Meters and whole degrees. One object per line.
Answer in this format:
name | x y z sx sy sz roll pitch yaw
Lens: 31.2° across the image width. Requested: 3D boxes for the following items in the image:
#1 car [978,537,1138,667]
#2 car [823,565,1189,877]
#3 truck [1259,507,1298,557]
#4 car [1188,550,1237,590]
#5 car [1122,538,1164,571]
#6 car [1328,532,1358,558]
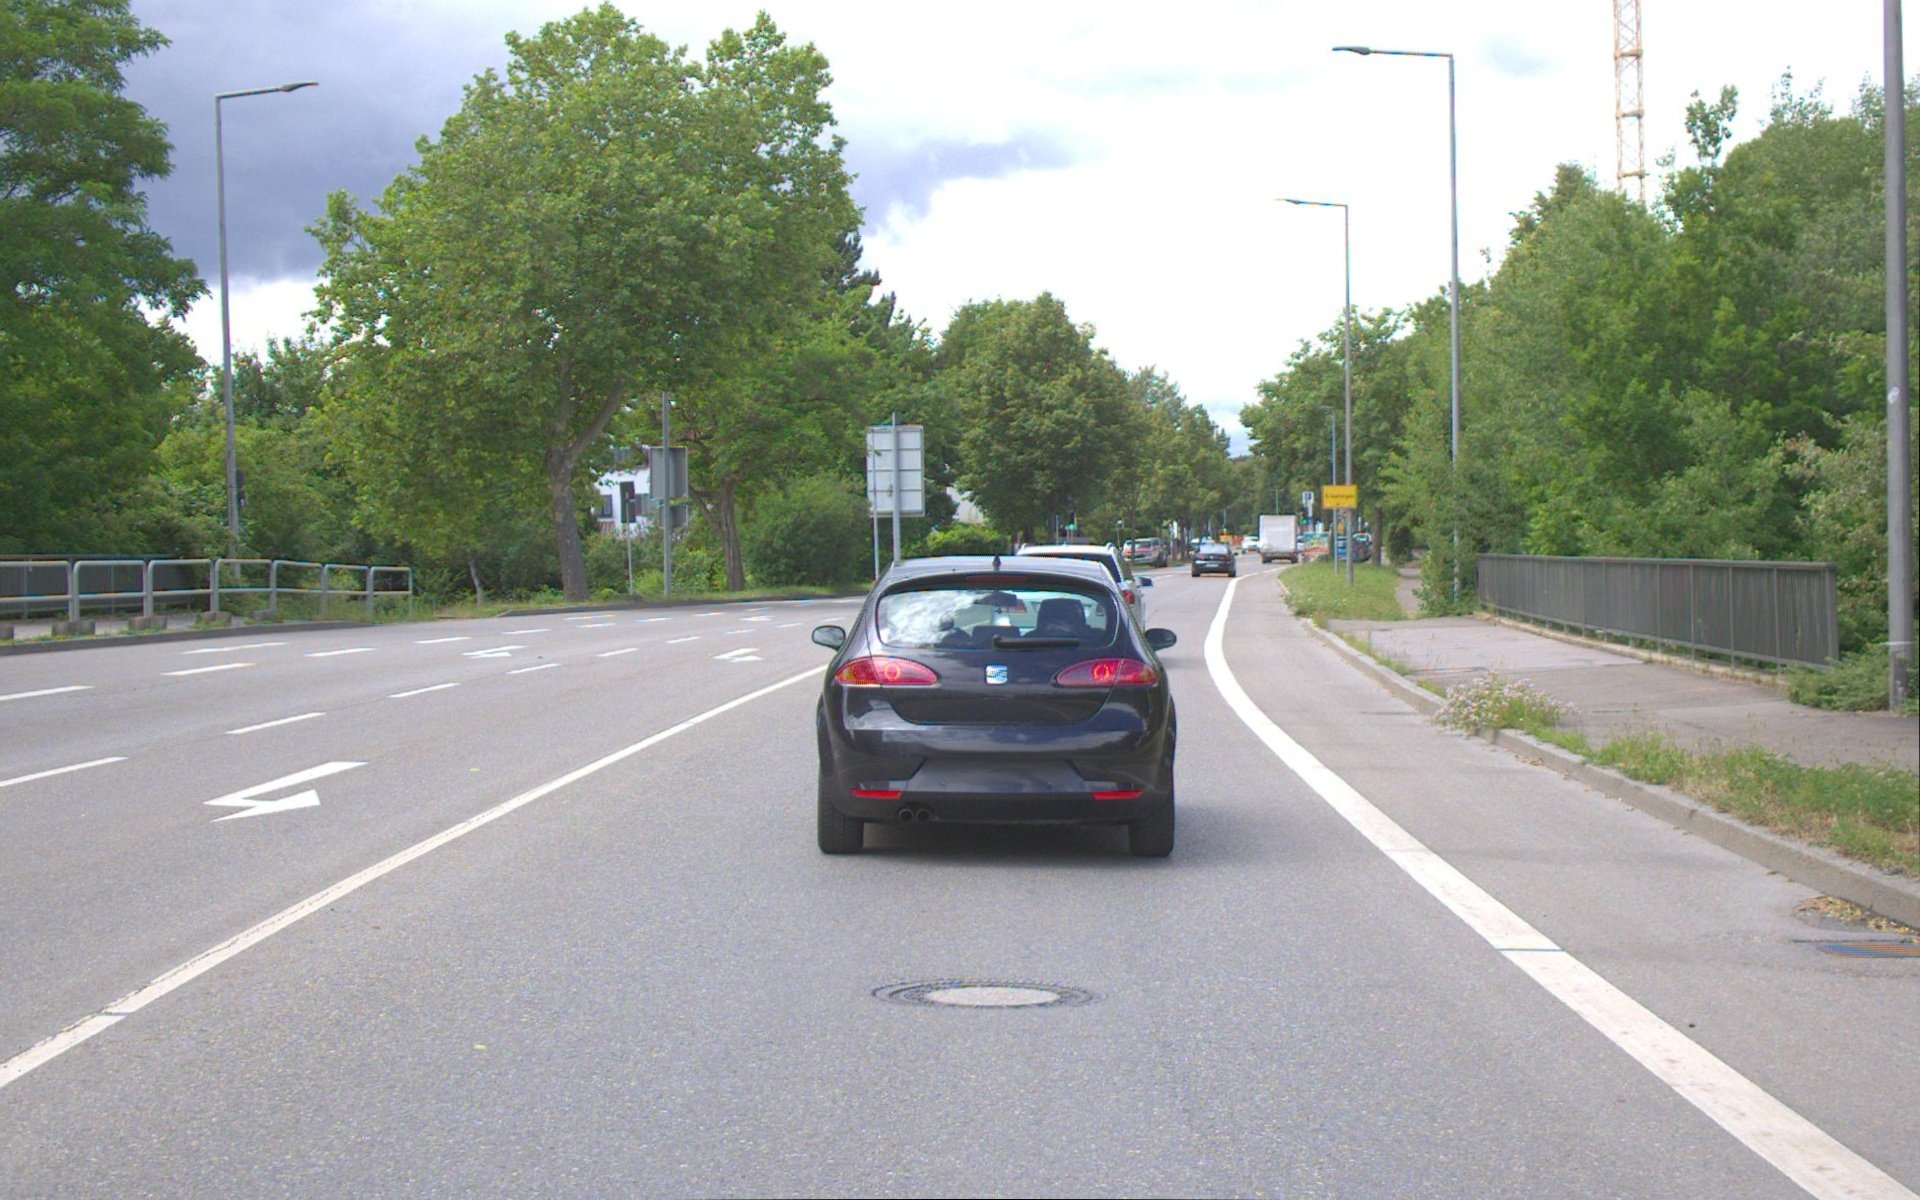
car | 1.239 -0.002 42.083 1.846 1.504 3.811 1 1 3
car | 0.302 0.534 17.693 1.663 1.396 3.811 1 1 3
truck | 20.422 -4.341 220.303 2.279 3.093 8.509 1 1 6
car | 10.912 -1.305 148.604 1.882 1.683 4.213 -1 1 7
car | 11.240 -2.794 210.875 2.100 1.890 5.782 -3 1 7
car | 22.728 -3.256 203.952 1.688 1.485 3.354 -1 1 7
